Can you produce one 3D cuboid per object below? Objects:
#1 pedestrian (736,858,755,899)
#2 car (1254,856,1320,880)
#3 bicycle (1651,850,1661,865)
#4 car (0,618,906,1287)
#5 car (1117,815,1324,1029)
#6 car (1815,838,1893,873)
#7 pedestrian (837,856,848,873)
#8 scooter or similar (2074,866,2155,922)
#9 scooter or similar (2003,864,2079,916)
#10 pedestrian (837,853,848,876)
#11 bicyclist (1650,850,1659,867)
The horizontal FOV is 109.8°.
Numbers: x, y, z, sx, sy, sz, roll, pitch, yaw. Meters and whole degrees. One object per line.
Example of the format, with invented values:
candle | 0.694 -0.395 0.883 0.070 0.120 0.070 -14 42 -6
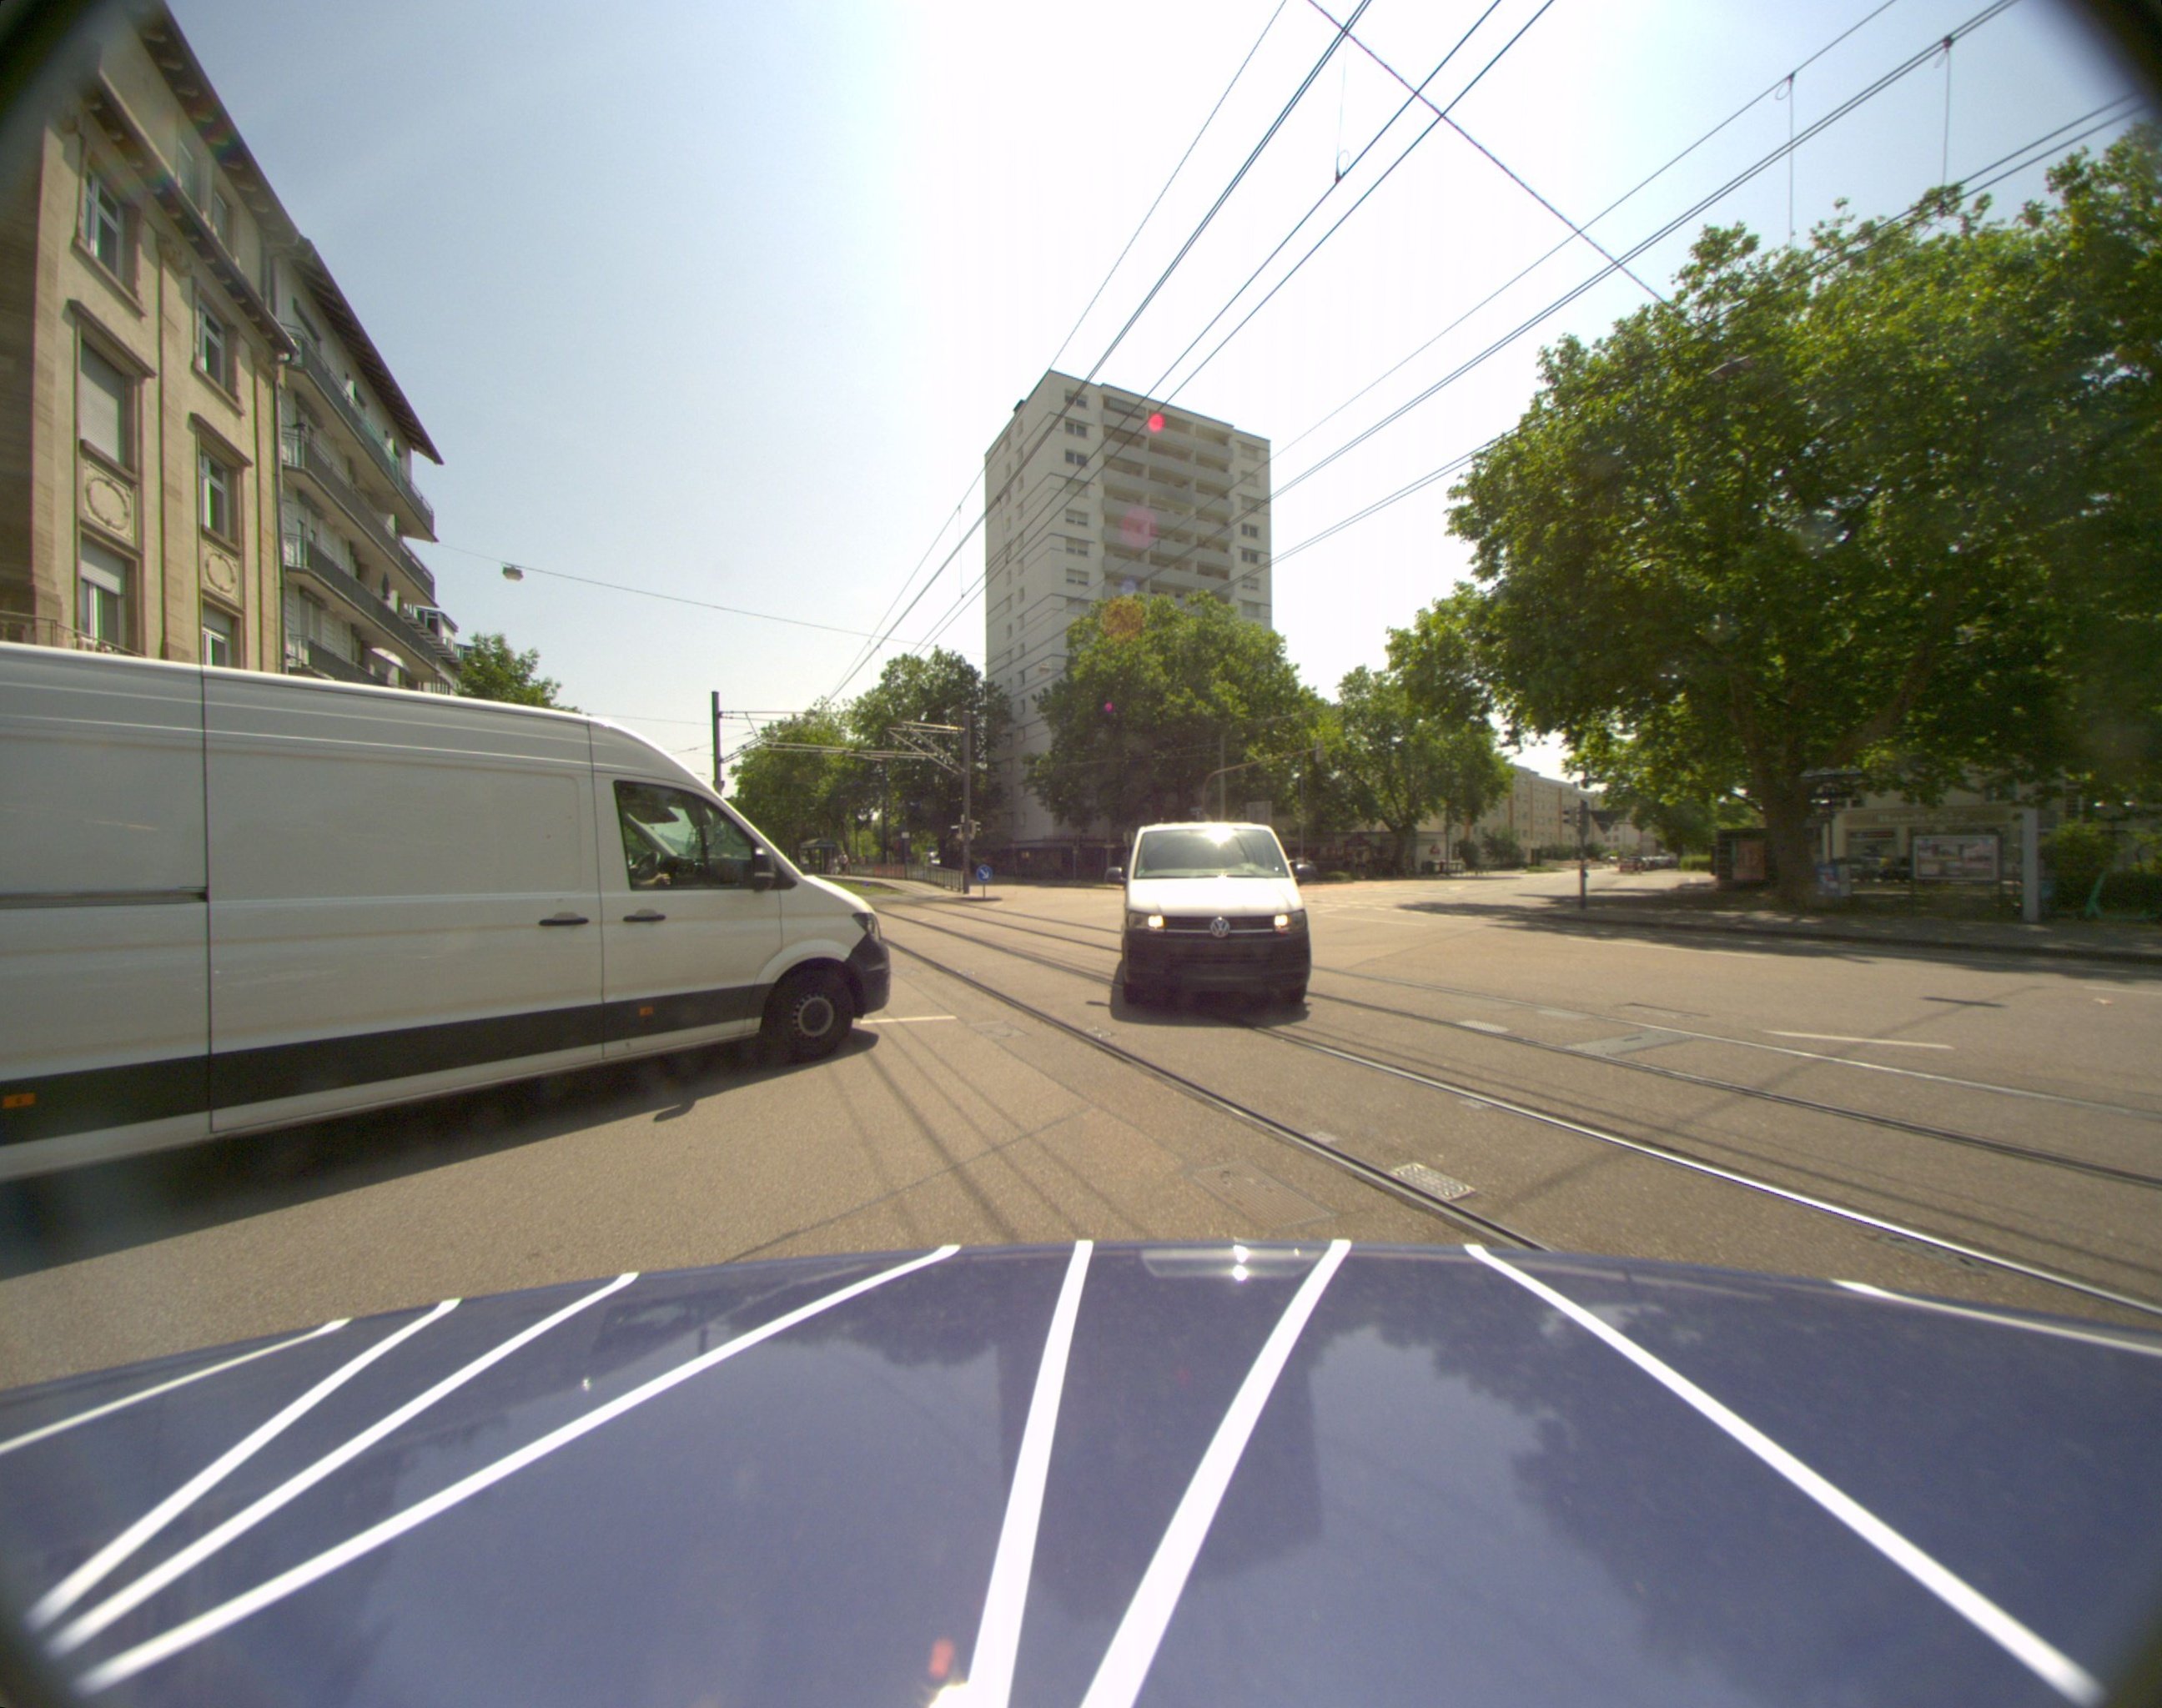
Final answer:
pedestrian | -14.227 1.012 32.238 0.681 1.696 0.552 -2 1 -25
car | 14.281 0.934 52.746 4.062 1.453 1.943 -2 1 -24
bicycle | 60.455 0.364 79.923 0.595 1.546 1.847 0 2 44
car | -4.382 0.395 4.413 2.071 2.621 6.648 0 0 40
car | 1.465 0.623 9.407 1.851 1.942 4.945 -1 0 5
car | 46.764 0.060 45.954 4.004 2.002 1.996 -2 1 -23
pedestrian | -18.759 0.841 59.767 0.680 1.341 0.630 -2 1 -29
scooter or similar | 21.615 0.814 15.914 0.257 1.114 0.975 -2 1 -15
scooter or similar | 21.456 0.793 16.994 0.257 1.114 1.035 -1 0 -15
pedestrian | -17.412 0.769 55.449 0.554 1.597 0.678 -2 1 -29
bicyclist | 60.133 0.467 79.639 0.703 1.725 0.789 0 2 44
